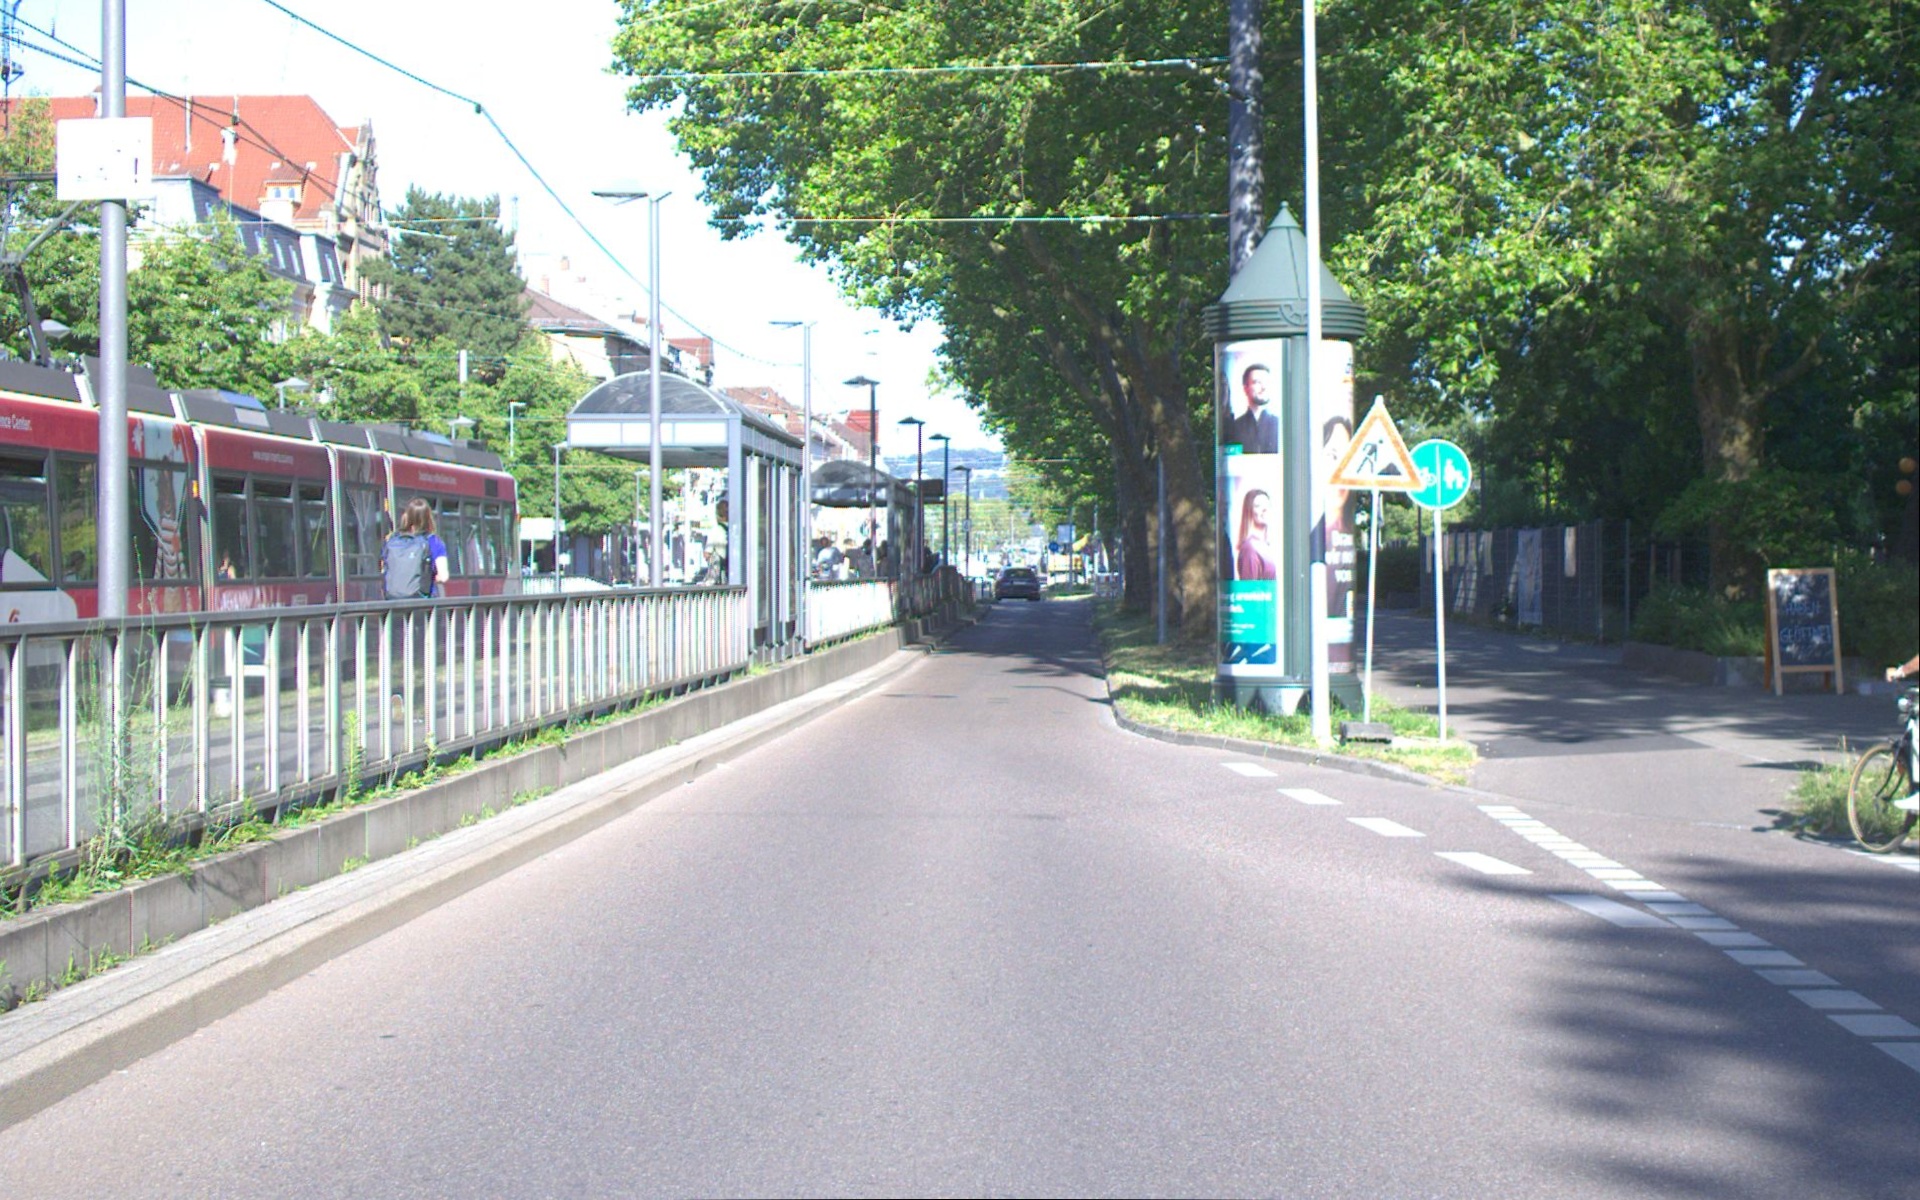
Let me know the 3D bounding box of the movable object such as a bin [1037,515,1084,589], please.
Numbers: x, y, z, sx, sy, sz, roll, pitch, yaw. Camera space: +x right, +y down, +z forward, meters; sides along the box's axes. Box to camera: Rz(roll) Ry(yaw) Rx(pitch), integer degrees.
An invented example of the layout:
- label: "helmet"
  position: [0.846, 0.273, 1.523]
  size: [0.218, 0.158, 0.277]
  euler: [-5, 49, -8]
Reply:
- label: "movable object such as a bin"
  position: [7.198, -3.442, 248.251]
  size: [3.087, 5.071, 8.892]
  euler: [-3, 0, 1]

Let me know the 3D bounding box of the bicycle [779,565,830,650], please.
- label: "bicycle"
  position: [-2.124, 0.092, 47.153]
  size: [0.513, 1.129, 2.103]
  euler: [2, 0, 2]

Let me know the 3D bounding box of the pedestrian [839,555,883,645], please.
- label: "pedestrian"
  position: [-1.744, -0.009, 60.409]
  size: [0.678, 1.556, 0.851]
  euler: [2, 0, 2]

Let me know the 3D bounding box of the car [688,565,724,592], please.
- label: "car"
  position: [-17.352, -1.481, 235.104]
  size: [2.015, 1.748, 4.558]
  euler: [2, 2, 1]

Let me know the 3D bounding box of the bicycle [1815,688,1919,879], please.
- label: "bicycle"
  position: [5.568, 1.033, 19.258]
  size: [0.603, 1.023, 1.767]
  euler: [0, 0, -21]

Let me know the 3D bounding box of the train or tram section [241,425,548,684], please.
- label: "train or tram section"
  position: [-8.653, -0.683, 53.906]
  size: [2.870, 3.673, 9.683]
  euler: [0, 0, 2]

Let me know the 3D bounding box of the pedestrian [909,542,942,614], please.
- label: "pedestrian"
  position: [-0.808, -0.518, 81.047]
  size: [0.679, 1.684, 0.894]
  euler: [2, 0, 2]

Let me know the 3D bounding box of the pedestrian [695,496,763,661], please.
- label: "pedestrian"
  position: [-2.700, -0.252, 40.307]
  size: [0.669, 1.896, 0.824]
  euler: [2, 0, 1]

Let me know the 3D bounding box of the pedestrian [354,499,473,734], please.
- label: "pedestrian"
  position: [-3.843, 0.110, 24.221]
  size: [0.629, 1.604, 0.982]
  euler: [2, 0, 0]

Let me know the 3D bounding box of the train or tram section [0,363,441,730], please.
- label: "train or tram section"
  position: [-9.111, -0.590, 41.812]
  size: [2.870, 3.673, 14.559]
  euler: [0, 0, 2]

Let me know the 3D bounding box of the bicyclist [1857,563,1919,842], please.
- label: "bicyclist"
  position: [5.549, 0.567, 19.295]
  size: [0.603, 1.545, 0.860]
  euler: [0, 0, -21]

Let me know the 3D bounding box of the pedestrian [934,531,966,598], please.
- label: "pedestrian"
  position: [-0.251, -0.917, 88.413]
  size: [0.757, 1.684, 0.678]
  euler: [2, 0, 2]

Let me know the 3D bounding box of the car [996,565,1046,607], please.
- label: "car"
  position: [2.574, -0.591, 144.290]
  size: [1.993, 1.678, 4.000]
  euler: [2, 0, 2]

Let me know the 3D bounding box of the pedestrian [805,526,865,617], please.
- label: "pedestrian"
  position: [-2.403, -0.548, 66.106]
  size: [0.907, 1.716, 0.631]
  euler: [2, 0, -31]

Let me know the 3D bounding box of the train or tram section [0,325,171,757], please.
- label: "train or tram section"
  position: [-9.635, -0.479, 27.289]
  size: [2.870, 3.663, 14.559]
  euler: [0, 0, 2]

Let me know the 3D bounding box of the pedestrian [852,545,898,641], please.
- label: "pedestrian"
  position: [-1.573, -0.135, 63.799]
  size: [0.765, 1.752, 0.695]
  euler: [2, 0, 2]
